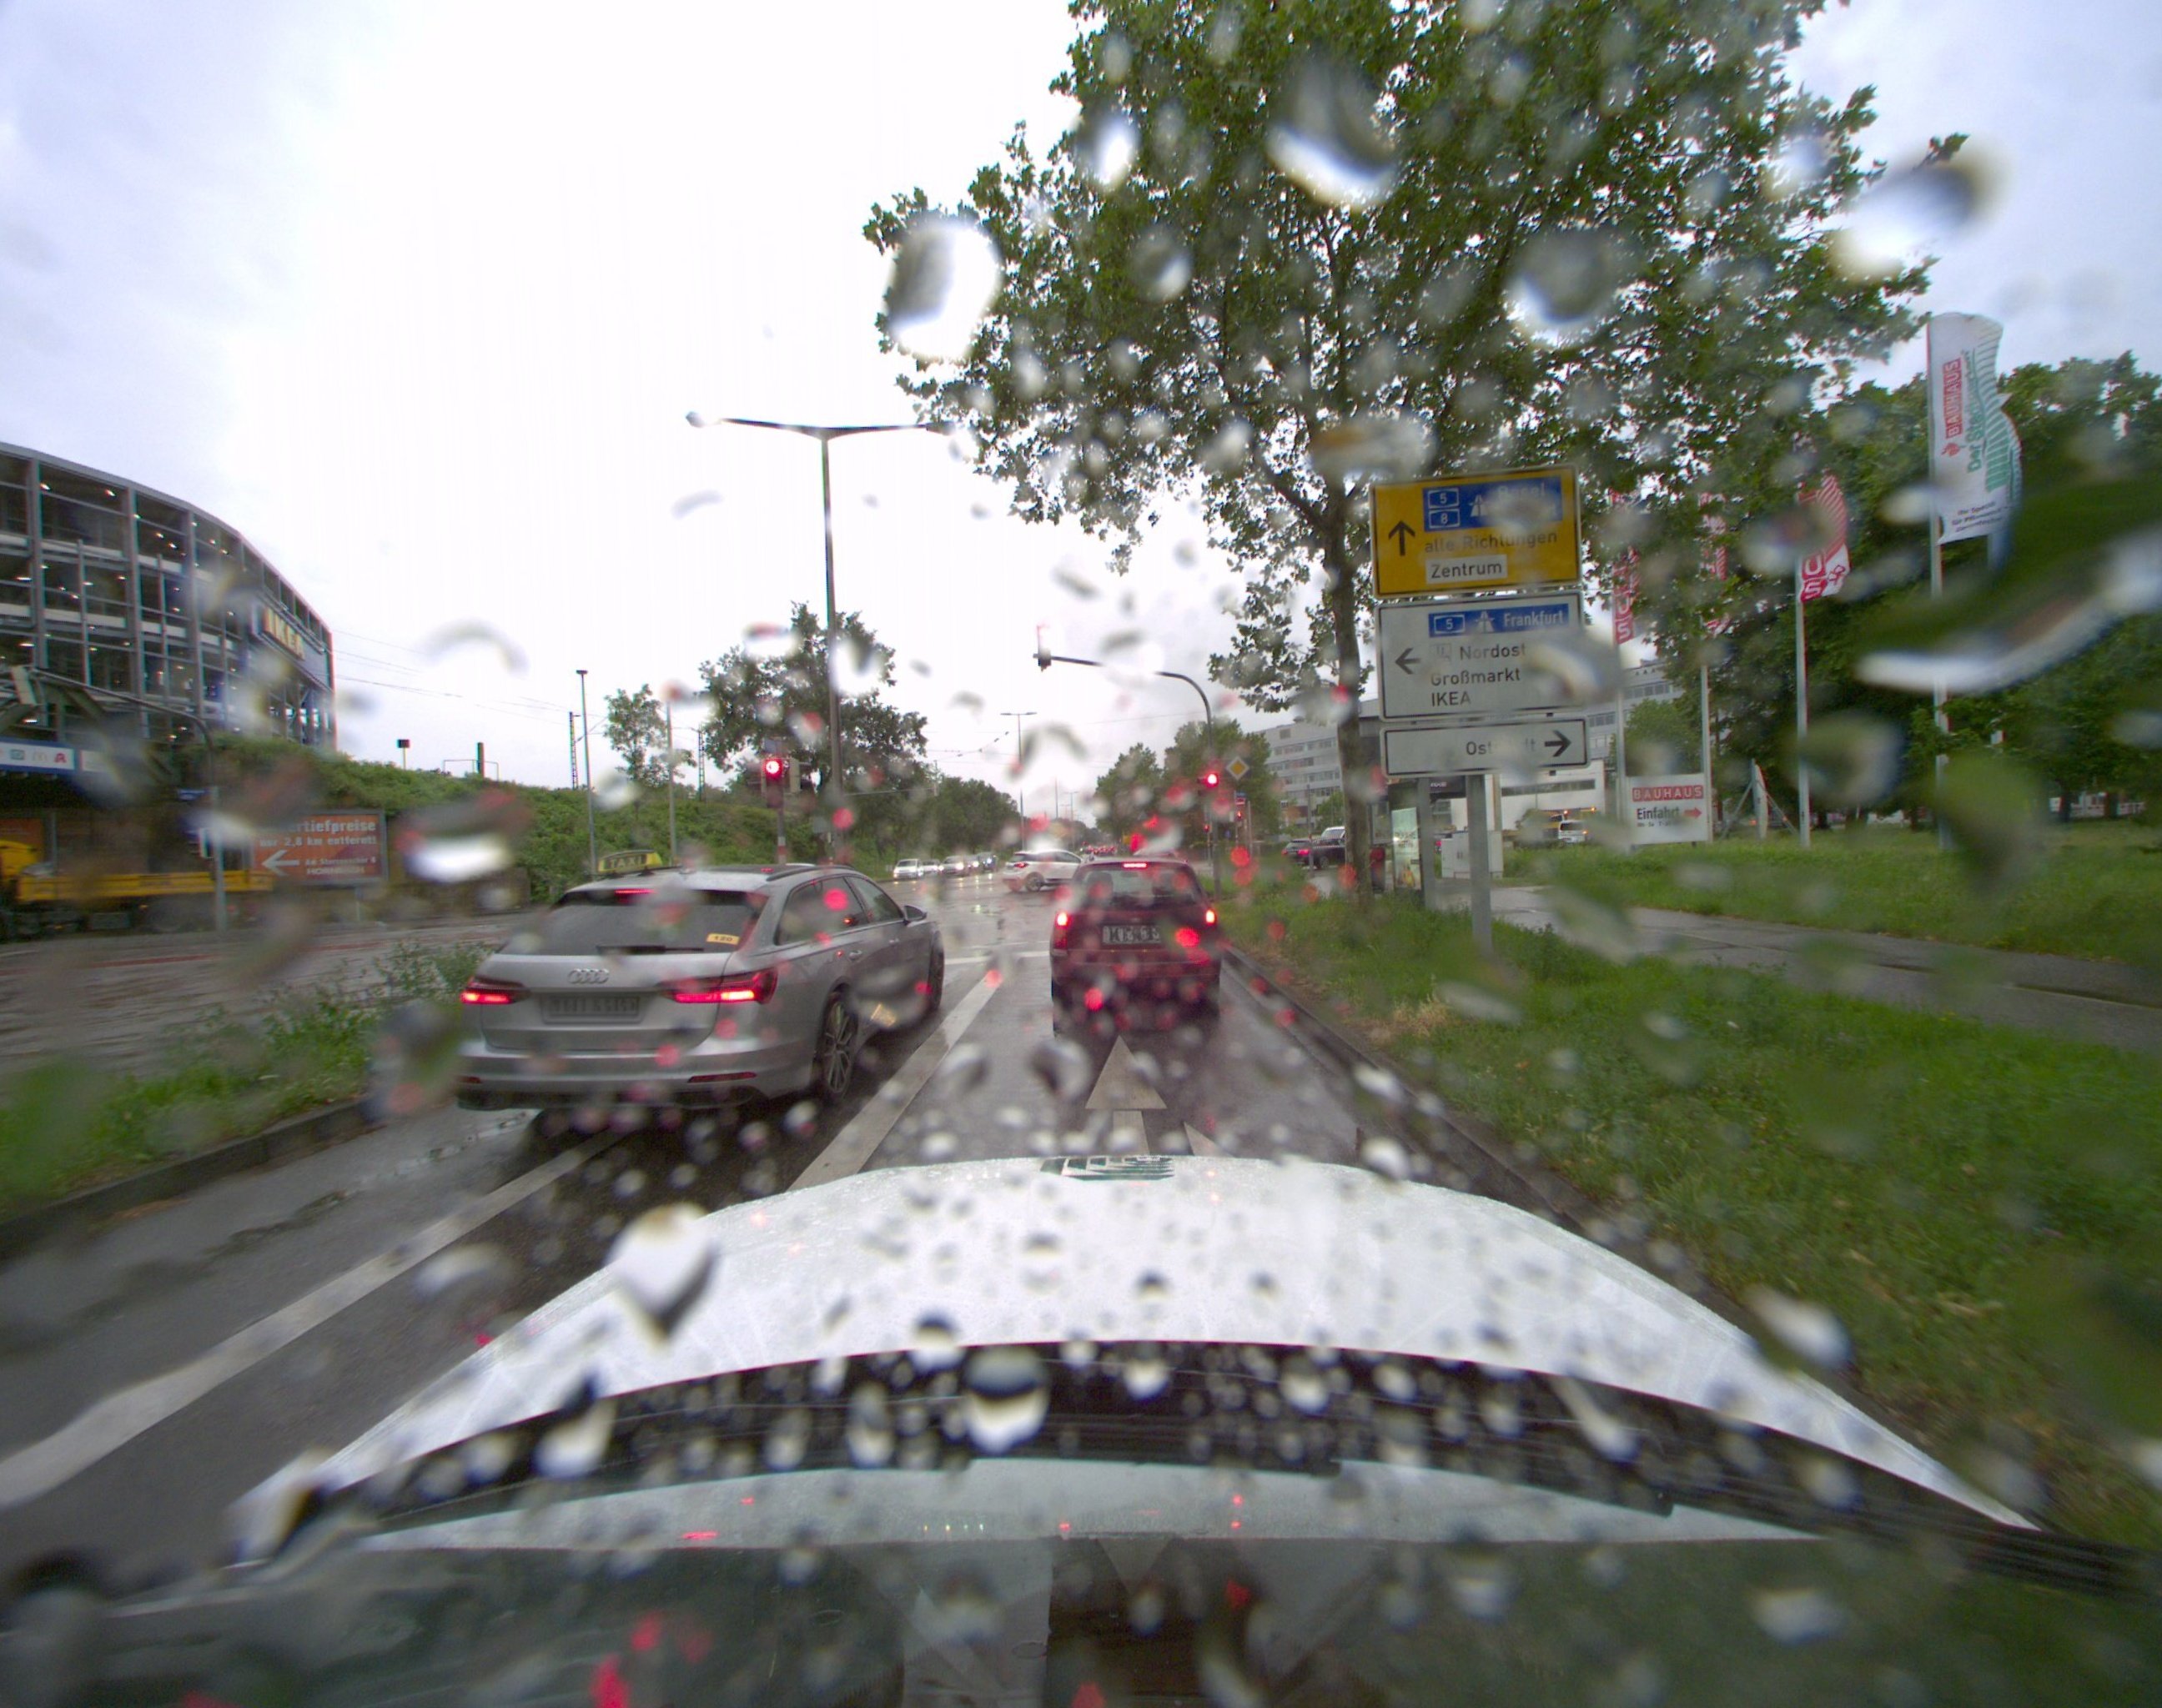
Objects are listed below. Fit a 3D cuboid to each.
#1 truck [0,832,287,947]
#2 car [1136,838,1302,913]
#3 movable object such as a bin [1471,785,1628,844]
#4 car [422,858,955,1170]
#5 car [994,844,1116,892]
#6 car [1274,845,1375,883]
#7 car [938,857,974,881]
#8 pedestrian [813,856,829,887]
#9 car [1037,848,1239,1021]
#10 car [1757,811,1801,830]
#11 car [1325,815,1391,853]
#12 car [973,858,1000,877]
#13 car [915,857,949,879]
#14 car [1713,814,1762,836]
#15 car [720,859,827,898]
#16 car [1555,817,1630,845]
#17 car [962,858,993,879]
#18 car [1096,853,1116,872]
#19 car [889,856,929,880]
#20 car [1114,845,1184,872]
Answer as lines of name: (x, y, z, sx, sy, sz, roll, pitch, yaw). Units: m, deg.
truck: (-29.027, 1.005, 24.385, 7.080, 3.054, 2.618, -2, 0, -36)
car: (3.740, 0.493, 21.631, 4.409, 1.537, 1.781, -5, 3, -38)
movable object such as a bin: (57.948, -4.617, 101.394, 8.296, 6.283, 14.818, 0, -1, -32)
car: (-2.247, 0.782, 6.204, 1.684, 1.433, 4.576, -2, 0, 2)
car: (-0.964, 0.502, 30.363, 4.075, 1.521, 1.981, -2, 0, -29)
car: (11.178, 0.441, 37.278, 4.398, 1.537, 1.786, -2, 0, -28)
car: (-8.807, 1.058, 57.732, 1.706, 1.530, 4.002, -2, 0, 2)
pedestrian: (-15.083, 1.001, 47.255, 0.528, 1.786, 0.676, -1, -1, 19)
car: (0.576, 0.721, 9.477, 1.789, 1.537, 4.389, -1, 0, 2)
car: (60.979, -2.917, 71.110, 4.405, 1.537, 1.783, -2, 0, -35)
car: (18.702, -1.339, 54.902, 4.405, 2.190, 1.783, -5, 1, -33)
car: (-8.306, 1.167, 72.074, 1.706, 1.530, 4.002, -2, 0, 2)
car: (-11.525, 1.073, 63.120, 1.706, 1.530, 4.002, -2, 0, 2)
car: (51.385, -2.293, 63.728, 4.405, 1.537, 1.783, -2, 0, -34)
car: (-13.487, 1.061, 35.746, 4.019, 1.486, 1.798, -2, 0, -37)
car: (30.847, -1.388, 49.098, 4.398, 1.537, 1.786, -2, 0, -28)
car: (-8.176, 1.096, 64.576, 1.706, 1.530, 4.002, -2, 0, 2)
car: (2.774, 0.941, 90.106, 1.986, 2.013, 4.002, -3, 0, 2)
car: (-11.910, 0.947, 56.586, 1.706, 1.530, 4.002, -2, 0, 2)
car: (4.118, 0.237, 48.836, 4.018, 1.429, 1.699, -3, 0, -36)
